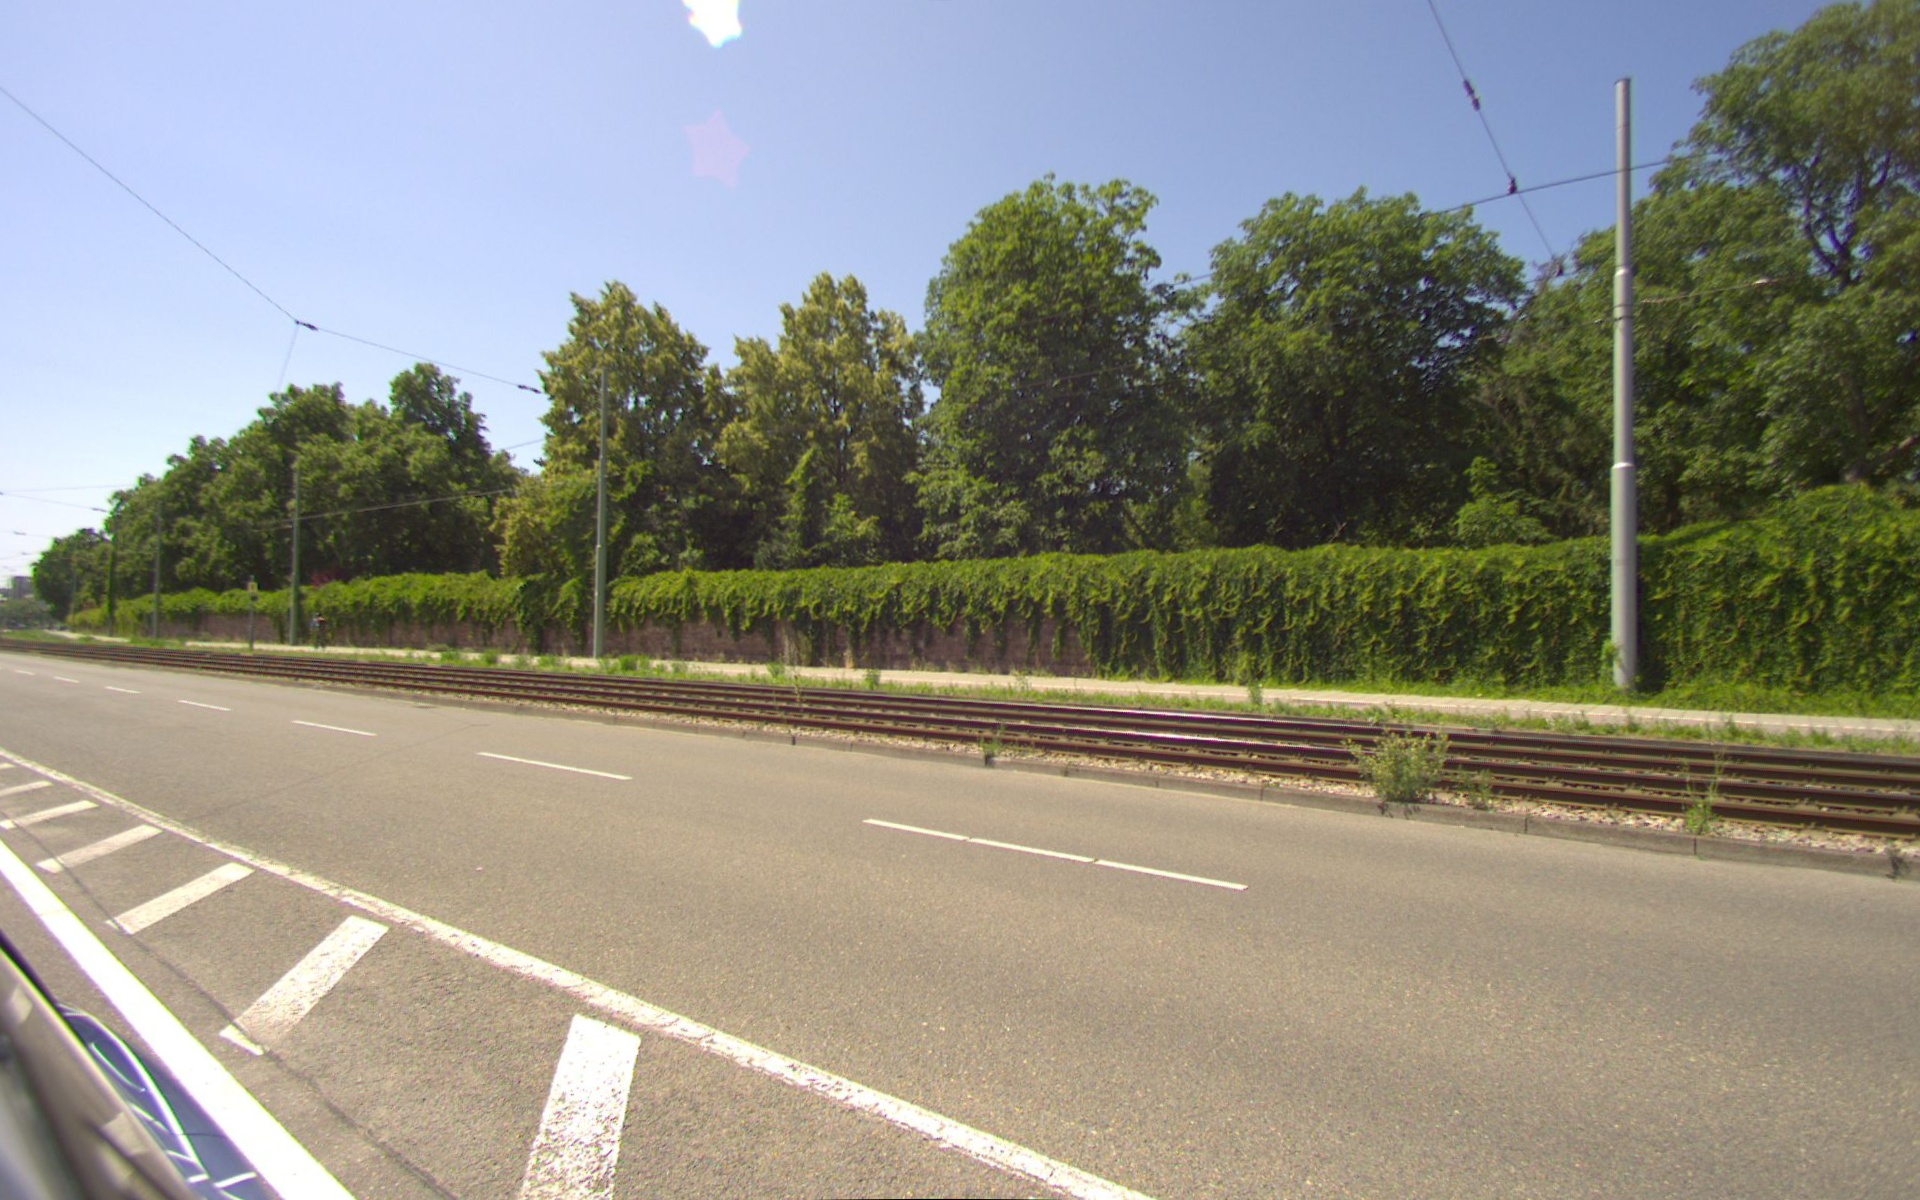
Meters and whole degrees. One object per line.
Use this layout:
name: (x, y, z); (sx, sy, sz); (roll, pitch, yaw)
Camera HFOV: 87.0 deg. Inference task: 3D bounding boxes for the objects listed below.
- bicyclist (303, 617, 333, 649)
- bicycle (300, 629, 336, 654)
bicyclist: (-30.532, 1.571, 48.117); (1.000, 1.497, 0.983); (-2, -2, 44)
bicycle: (-30.598, 1.952, 48.208); (2.686, 1.165, 0.819); (-2, -2, 44)
